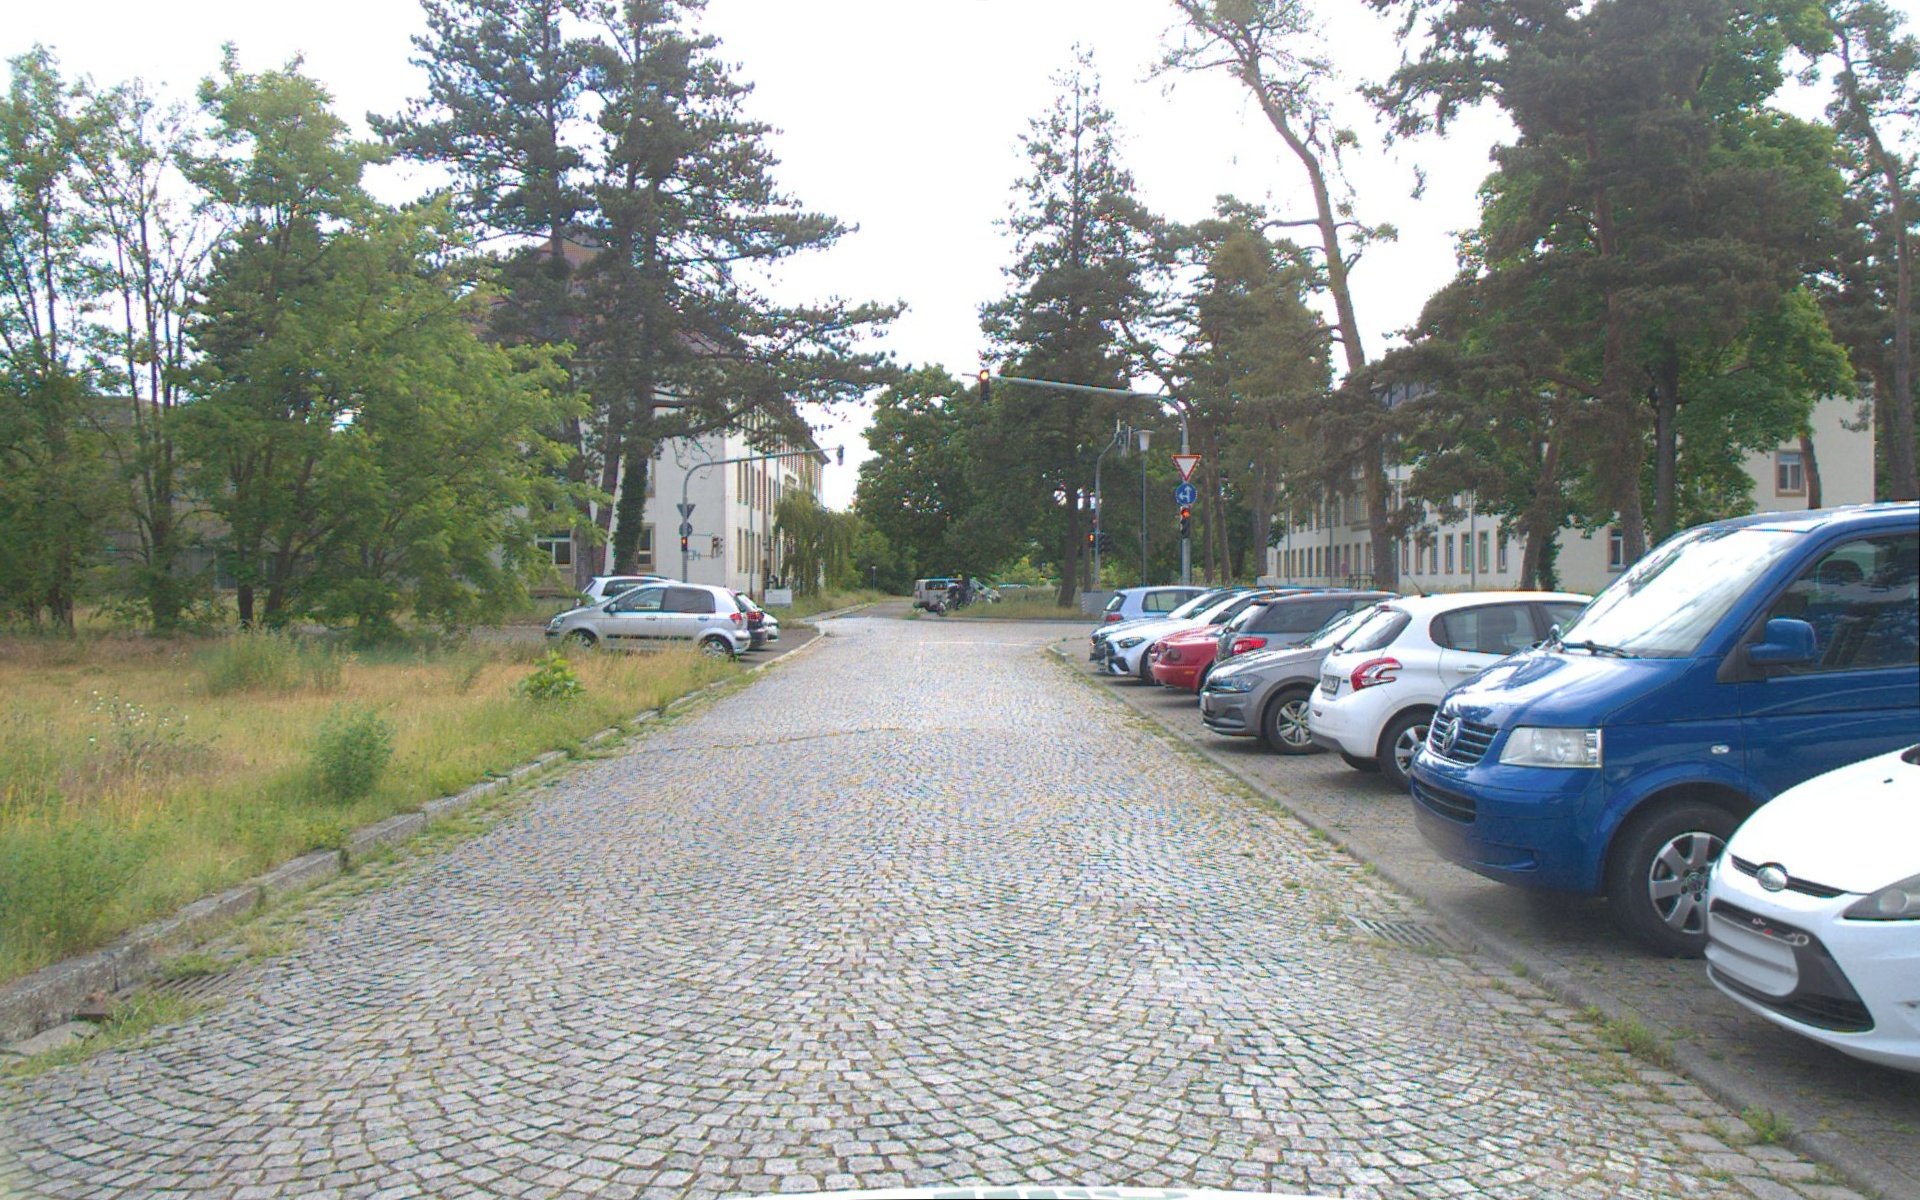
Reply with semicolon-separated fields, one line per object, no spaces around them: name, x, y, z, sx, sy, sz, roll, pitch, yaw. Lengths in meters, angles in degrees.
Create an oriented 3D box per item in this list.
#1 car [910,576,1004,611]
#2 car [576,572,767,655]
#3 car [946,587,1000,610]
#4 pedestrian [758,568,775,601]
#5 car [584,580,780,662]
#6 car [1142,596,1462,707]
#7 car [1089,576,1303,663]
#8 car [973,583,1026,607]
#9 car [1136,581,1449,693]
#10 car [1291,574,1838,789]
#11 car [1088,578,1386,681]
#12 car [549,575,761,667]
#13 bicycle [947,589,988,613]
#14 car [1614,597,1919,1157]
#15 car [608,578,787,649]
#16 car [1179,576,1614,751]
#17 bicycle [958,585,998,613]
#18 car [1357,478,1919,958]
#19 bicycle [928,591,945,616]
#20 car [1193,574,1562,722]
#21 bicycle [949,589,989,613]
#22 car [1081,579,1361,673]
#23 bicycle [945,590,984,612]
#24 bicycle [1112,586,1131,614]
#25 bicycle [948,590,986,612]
car;-0.195;-0.396;98.527;5.263;1.958;2.020;-2;1;-10
car;-6.241;0.275;36.059;3.870;1.590;1.649;3;0;-4
car;0.725;-0.088;95.181;2.948;1.290;1.533;0;0;-7
pedestrian;-11.233;-0.901;95.978;0.766;1.869;0.733;0;0;-32
car;-5.545;0.409;33.292;3.672;1.453;1.581;3;0;-4
car;4.408;0.643;21.716;3.785;1.258;1.757;-2;1;-2
car;4.464;0.359;31.683;3.846;1.503;1.642;-2;1;1
car;2.426;-0.311;102.456;3.168;1.441;1.724;0;0;-4
car;4.798;0.509;24.283;4.175;1.441;1.871;-2;1;-1
car;4.789;0.606;13.464;3.785;1.498;1.757;-2;1;-2
car;4.401;0.437;26.543;4.341;1.441;1.867;-2;1;-10
car;-5.602;0.370;30.693;3.630;1.505;1.581;3;0;-4
bicycle;0.367;0.044;81.087;1.918;1.136;0.587;0;0;-8
car;4.482;0.724;5.586;3.785;1.498;1.841;-2;1;-2
car;-6.083;0.295;38.604;3.868;1.446;1.650;3;0;-2
car;4.201;0.579;16.317;3.785;1.498;1.757;-2;1;-2
bicycle;0.885;-0.044;81.927;1.918;1.408;0.587;0;0;-8
car;4.576;0.440;8.108;4.711;1.979;2.002;-2;1;-2
bicycle;-1.090;0.154;77.231;0.591;1.152;1.959;0;1;-6
car;4.751;0.519;19.170;3.785;1.498;1.757;-2;1;-2
bicycle;0.438;0.026;80.455;1.918;1.152;0.587;0;0;-8
car;4.545;0.435;29.232;4.588;1.441;1.870;-2;1;-3
bicycle;0.241;0.057;82.568;1.935;1.088;0.582;0;0;-31
bicycle;6.687;-0.008;68.457;0.574;1.125;1.961;0;1;-1
bicycle;0.370;0.048;83.920;1.935;1.088;0.582;0;0;-31
